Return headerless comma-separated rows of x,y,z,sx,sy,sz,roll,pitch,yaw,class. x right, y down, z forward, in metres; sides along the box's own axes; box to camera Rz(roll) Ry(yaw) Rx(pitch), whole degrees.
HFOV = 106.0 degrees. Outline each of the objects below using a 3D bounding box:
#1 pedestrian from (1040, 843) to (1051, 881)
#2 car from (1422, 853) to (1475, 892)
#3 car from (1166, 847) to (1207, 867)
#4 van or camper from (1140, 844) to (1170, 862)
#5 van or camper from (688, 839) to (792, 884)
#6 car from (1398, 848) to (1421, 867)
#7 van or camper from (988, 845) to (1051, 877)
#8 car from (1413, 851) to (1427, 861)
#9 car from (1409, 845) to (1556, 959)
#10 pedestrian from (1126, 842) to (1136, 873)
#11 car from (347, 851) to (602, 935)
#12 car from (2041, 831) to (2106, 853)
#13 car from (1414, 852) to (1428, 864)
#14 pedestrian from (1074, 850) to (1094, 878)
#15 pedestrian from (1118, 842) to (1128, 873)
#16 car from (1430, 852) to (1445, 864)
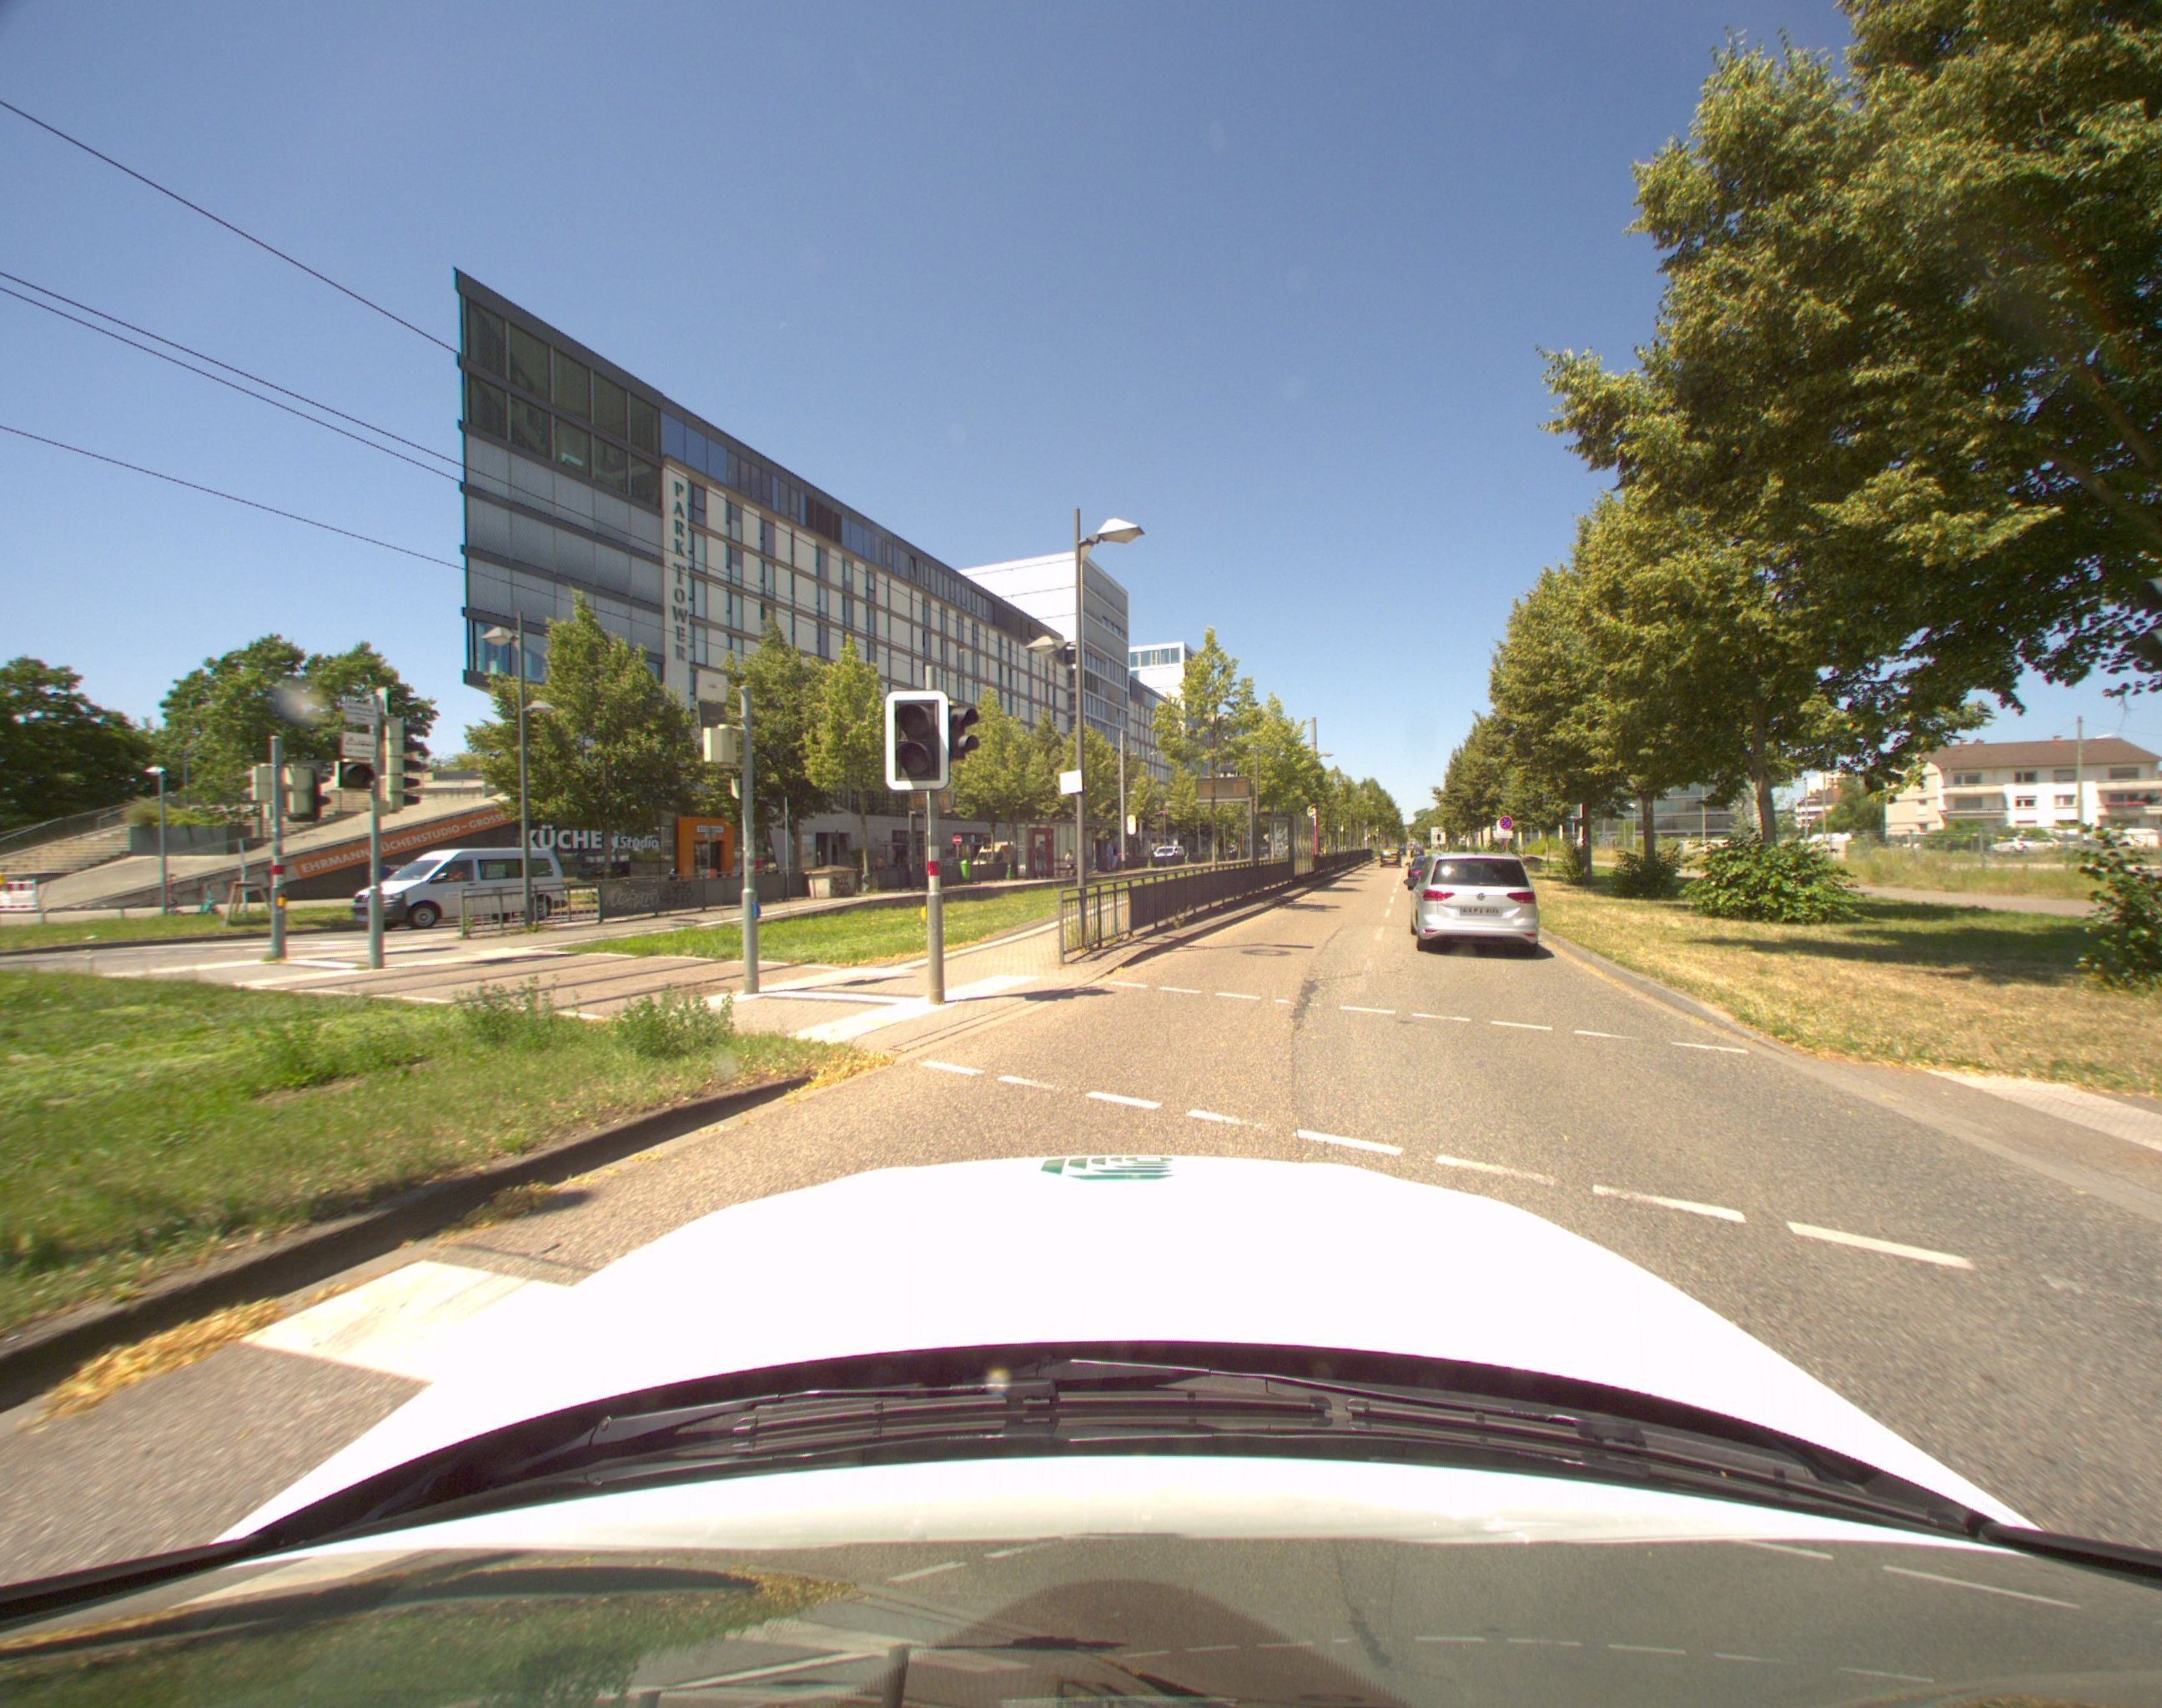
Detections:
-1.618,0.349,37.527,0.464,1.739,0.477,-1,0,-6,pedestrian
15.269,0.723,33.973,1.835,1.436,4.983,-1,0,23,car
9.916,0.245,76.459,2.440,1.806,5.099,-1,0,24,car
6.213,-0.109,68.026,1.463,1.427,3.447,-1,0,23,van or camper
-22.714,0.501,54.632,2.355,2.822,6.821,-1,0,21,van or camper
26.456,0.312,65.577,1.604,1.451,4.008,-1,-1,23,car
-4.835,0.530,65.414,2.158,2.386,6.809,-1,0,23,van or camper
54.613,0.387,131.343,1.847,1.464,4.019,-2,-1,19,car
6.817,0.711,14.277,1.786,1.649,4.627,0,0,20,car
2.869,0.212,47.084,0.406,1.752,0.589,-1,0,20,pedestrian
-17.006,0.974,23.286,1.975,2.106,5.573,-1,0,24,car
81.578,-0.969,66.984,1.661,1.586,3.638,-2,-1,18,car
47.041,0.522,112.684,1.750,1.627,3.735,-1,0,22,car
0.134,0.508,42.082,0.827,1.413,0.645,-1,0,22,pedestrian
2.380,0.216,46.506,0.406,1.752,0.589,-1,0,20,pedestrian
48.697,0.548,111.290,1.750,1.627,3.735,-1,0,22,car
